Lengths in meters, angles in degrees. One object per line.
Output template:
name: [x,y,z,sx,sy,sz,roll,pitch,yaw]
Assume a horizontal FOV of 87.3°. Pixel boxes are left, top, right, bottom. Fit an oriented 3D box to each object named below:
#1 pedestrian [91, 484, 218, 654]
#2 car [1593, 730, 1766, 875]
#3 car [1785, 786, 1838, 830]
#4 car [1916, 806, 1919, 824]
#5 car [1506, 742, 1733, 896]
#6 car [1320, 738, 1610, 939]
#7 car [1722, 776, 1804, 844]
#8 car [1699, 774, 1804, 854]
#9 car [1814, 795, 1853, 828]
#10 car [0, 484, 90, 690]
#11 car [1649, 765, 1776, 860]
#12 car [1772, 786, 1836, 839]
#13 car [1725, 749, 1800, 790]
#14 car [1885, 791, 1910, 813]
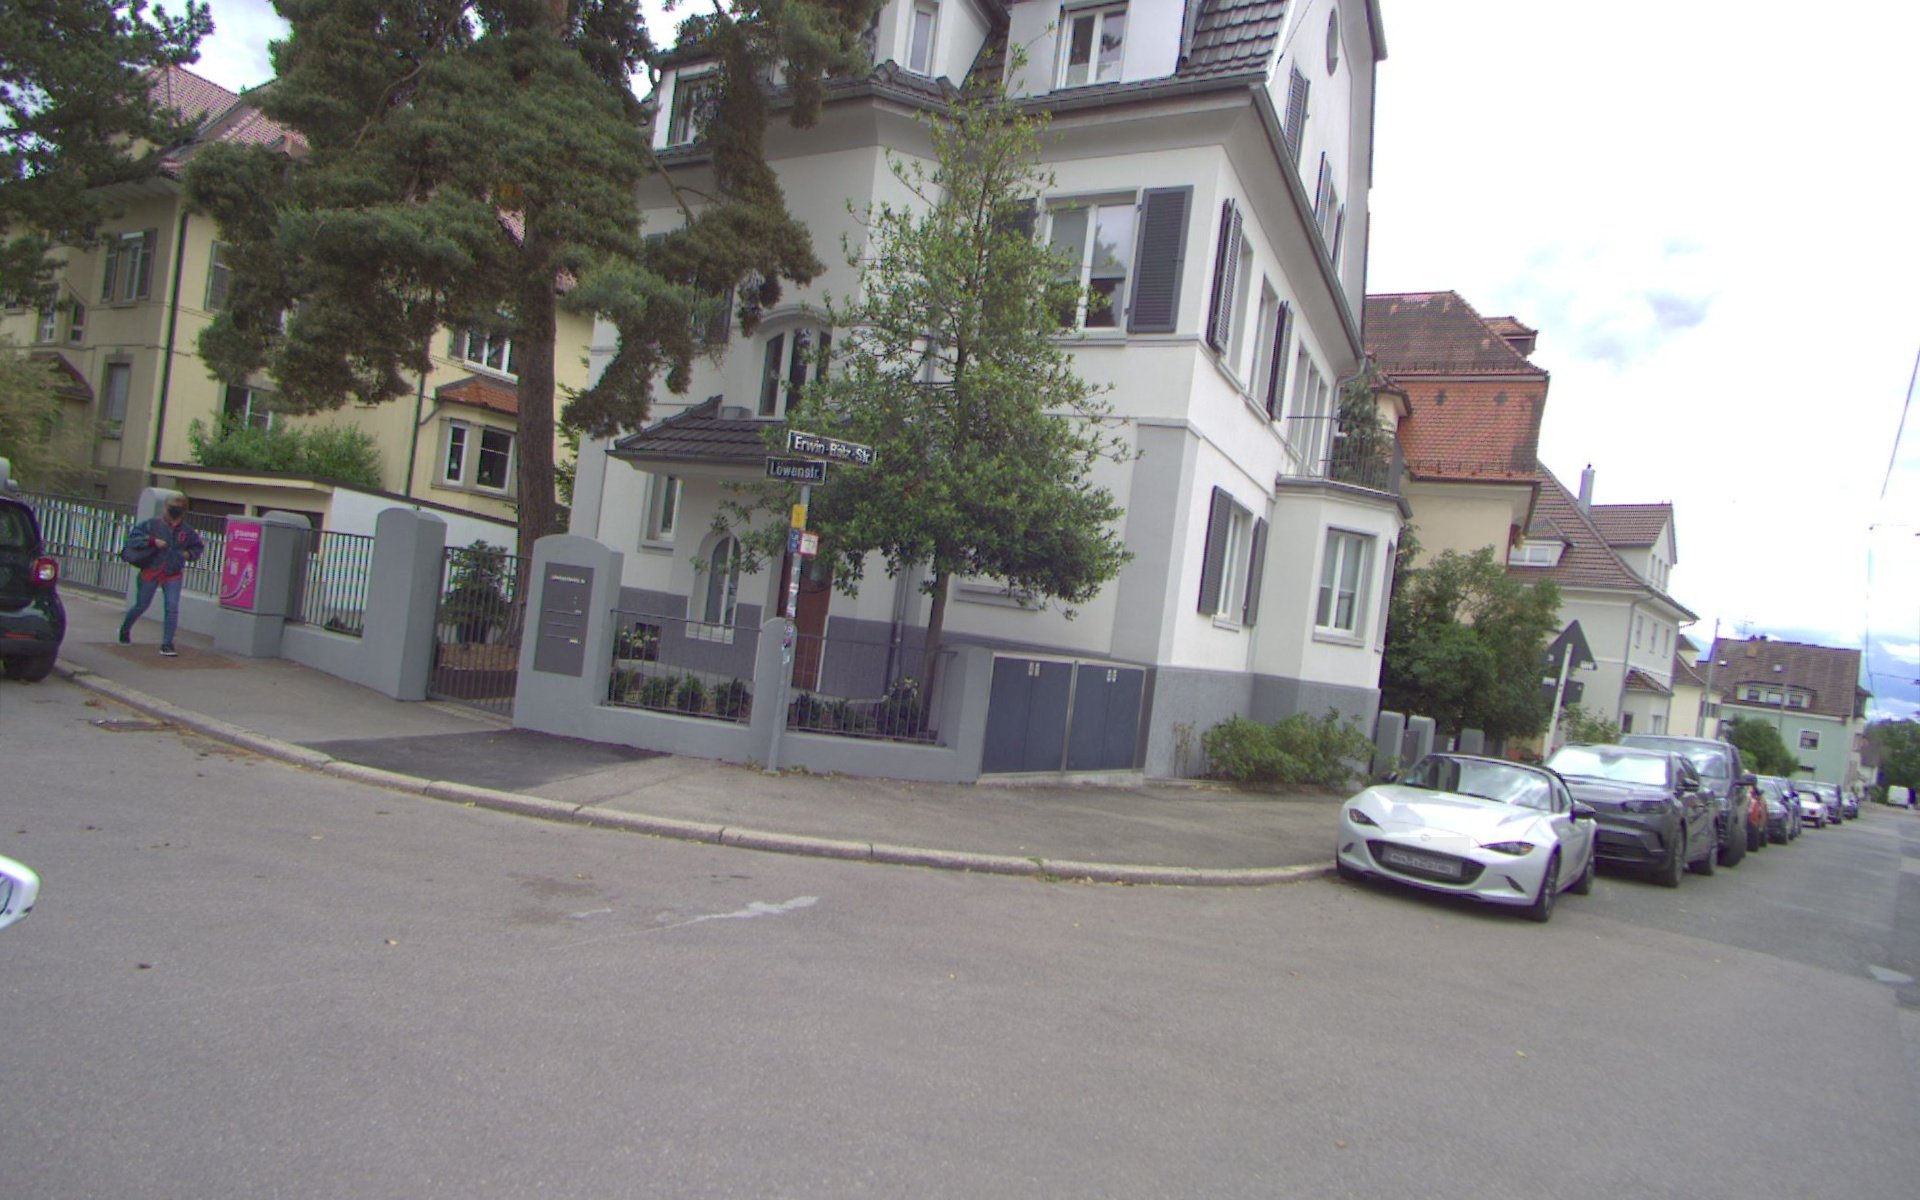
pedestrian: [-8.176,-0.315,10.212,0.892,1.597,0.681,8,2,35]
car: [12.334,3.380,17.105,1.867,1.912,4.500,3,-6,42]
car: [38.811,9.477,45.825,1.597,1.576,3.962,7,-4,42]
car: [88.920,19.850,92.210,1.705,1.604,3.872,7,-4,43]
car: [8.583,2.773,12.931,1.650,1.456,4.187,2,-7,44]
car: [4.870,2.122,9.464,1.647,1.274,3.471,5,-5,39]
car: [23.265,6.021,29.086,1.598,1.576,3.960,3,-6,42]
car: [19.469,5.184,24.673,1.746,1.529,3.960,3,-6,42]
car: [52.932,12.807,60.950,1.597,1.576,3.729,7,-4,42]
car: [-8.860,-0.344,8.154,2.817,1.548,1.578,10,-3,26]
car: [15.754,4.383,20.977,1.746,1.528,3.961,3,-6,42]
car: [31.954,8.029,38.049,1.597,1.576,3.962,7,-4,42]
car: [58.150,12.286,72.996,3.937,2.040,1.798,8,2,36]
car: [115.050,24.758,123.486,1.814,2.343,3.877,7,-3,40]
